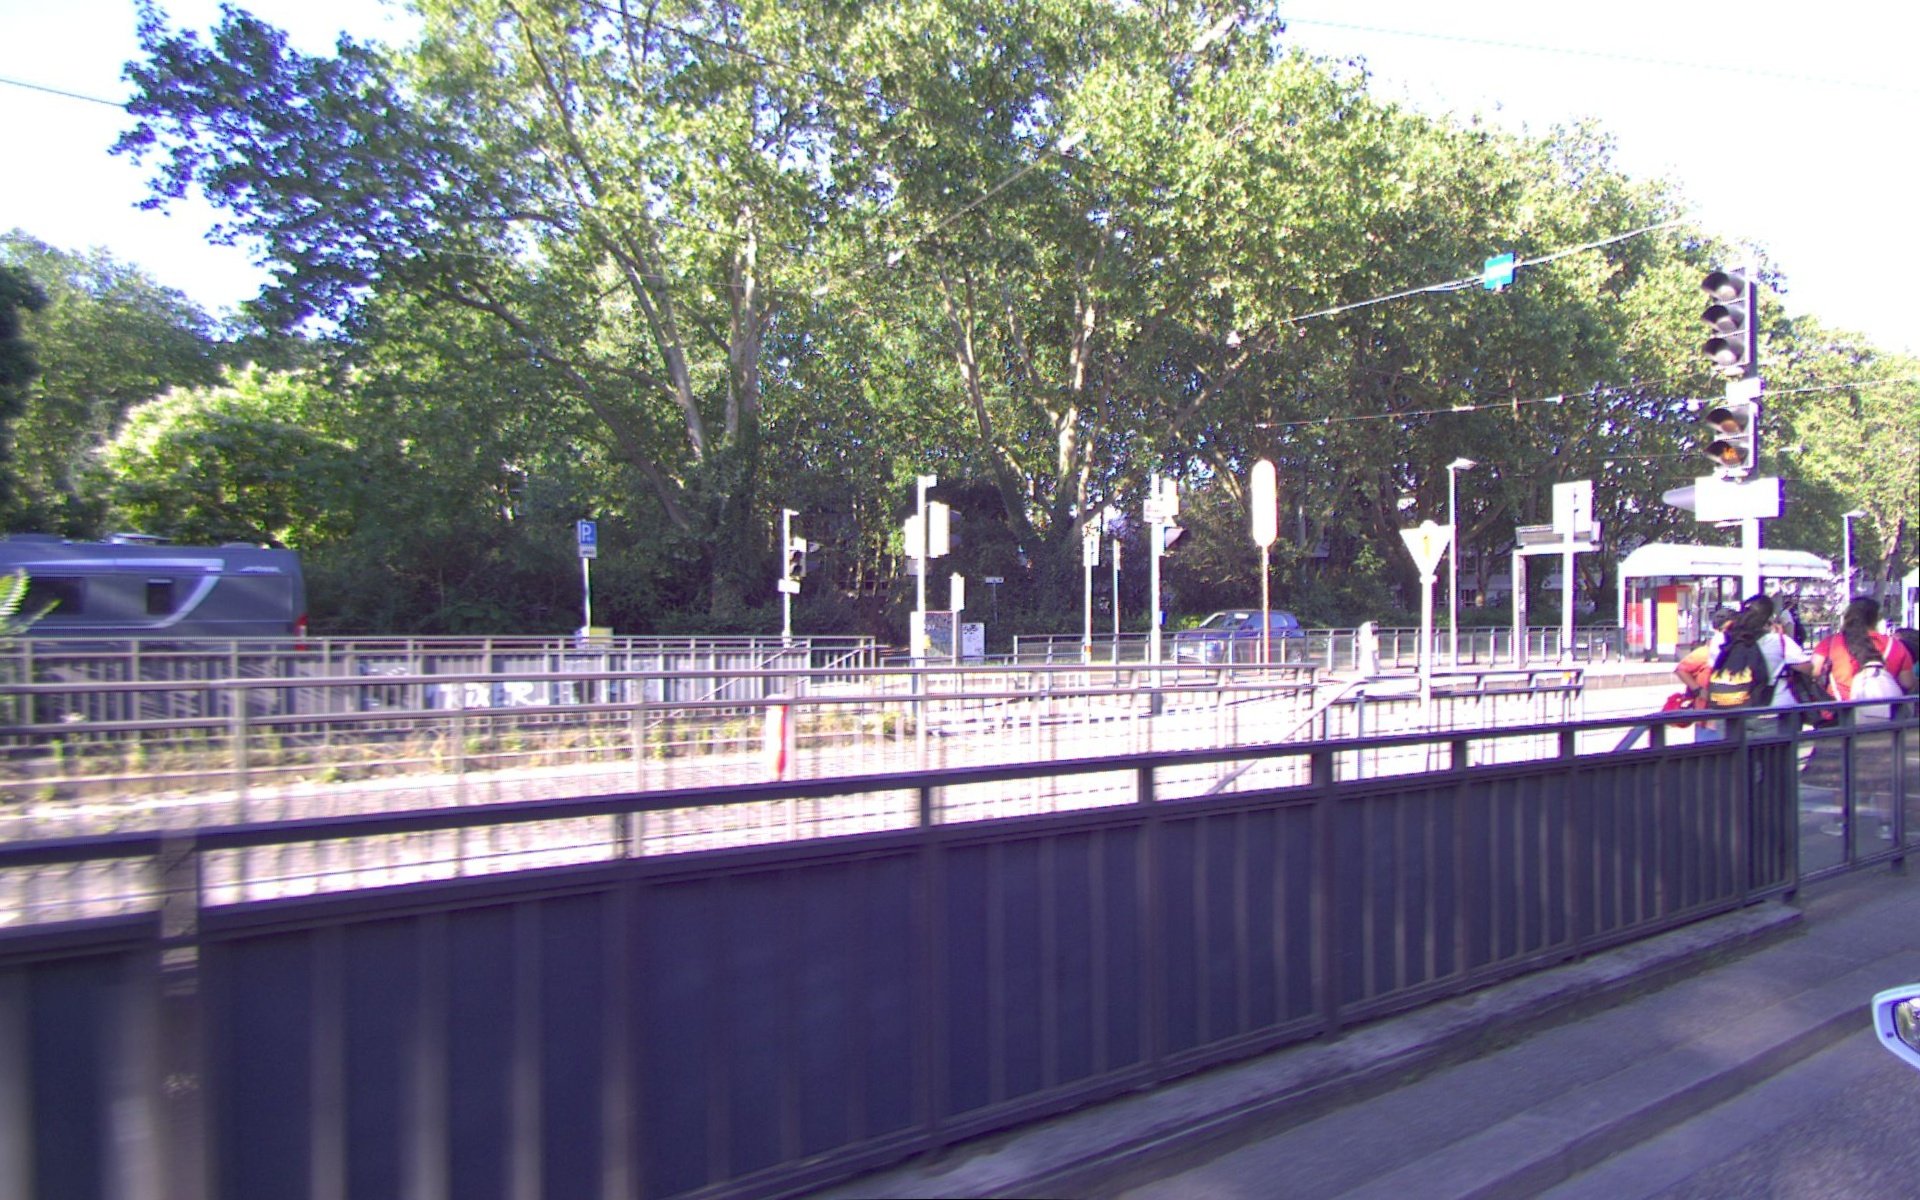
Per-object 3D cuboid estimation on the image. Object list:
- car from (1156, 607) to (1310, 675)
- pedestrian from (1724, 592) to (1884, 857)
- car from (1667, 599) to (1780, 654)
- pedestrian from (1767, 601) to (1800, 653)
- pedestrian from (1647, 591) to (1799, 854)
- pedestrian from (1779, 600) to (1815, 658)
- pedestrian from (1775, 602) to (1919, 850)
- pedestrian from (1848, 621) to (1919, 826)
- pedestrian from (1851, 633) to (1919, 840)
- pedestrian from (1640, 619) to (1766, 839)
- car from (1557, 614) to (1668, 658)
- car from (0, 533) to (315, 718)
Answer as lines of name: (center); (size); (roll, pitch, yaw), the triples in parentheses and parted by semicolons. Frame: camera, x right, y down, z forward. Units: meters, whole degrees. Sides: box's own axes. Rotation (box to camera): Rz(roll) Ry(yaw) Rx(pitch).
car: (7.334, 1.092, 26.882); (3.932, 1.673, 1.891); (1, -3, -34)
pedestrian: (5.308, 0.763, 6.346); (0.498, 1.588, 0.521); (-1, -2, -1)
car: (31.424, 1.104, 41.295); (5.035, 2.152, 2.056); (1, -3, -33)
pedestrian: (25.444, 0.836, 31.020); (0.619, 1.564, 0.590); (1, 0, -30)
pedestrian: (4.827, 0.754, 6.381); (0.498, 1.588, 0.521); (-1, -2, -1)
pedestrian: (26.100, 0.904, 31.340); (0.642, 1.796, 0.645); (1, 0, -28)
pedestrian: (5.880, 0.796, 6.625); (0.508, 1.539, 0.587); (0, -3, -30)
pedestrian: (6.833, 0.867, 7.228); (0.582, 1.425, 0.557); (-3, -3, 39)
pedestrian: (6.330, 0.895, 6.723); (0.355, 1.338, 0.414); (0, -3, -30)
pedestrian: (5.318, 0.892, 7.197); (0.508, 1.491, 0.517); (0, -3, -30)
car: (23.924, 1.318, 36.800); (4.294, 1.530, 1.784); (1, -3, -33)
car: (-13.277, 0.405, 15.087); (5.967, 2.553, 2.172); (1, -3, -33)
